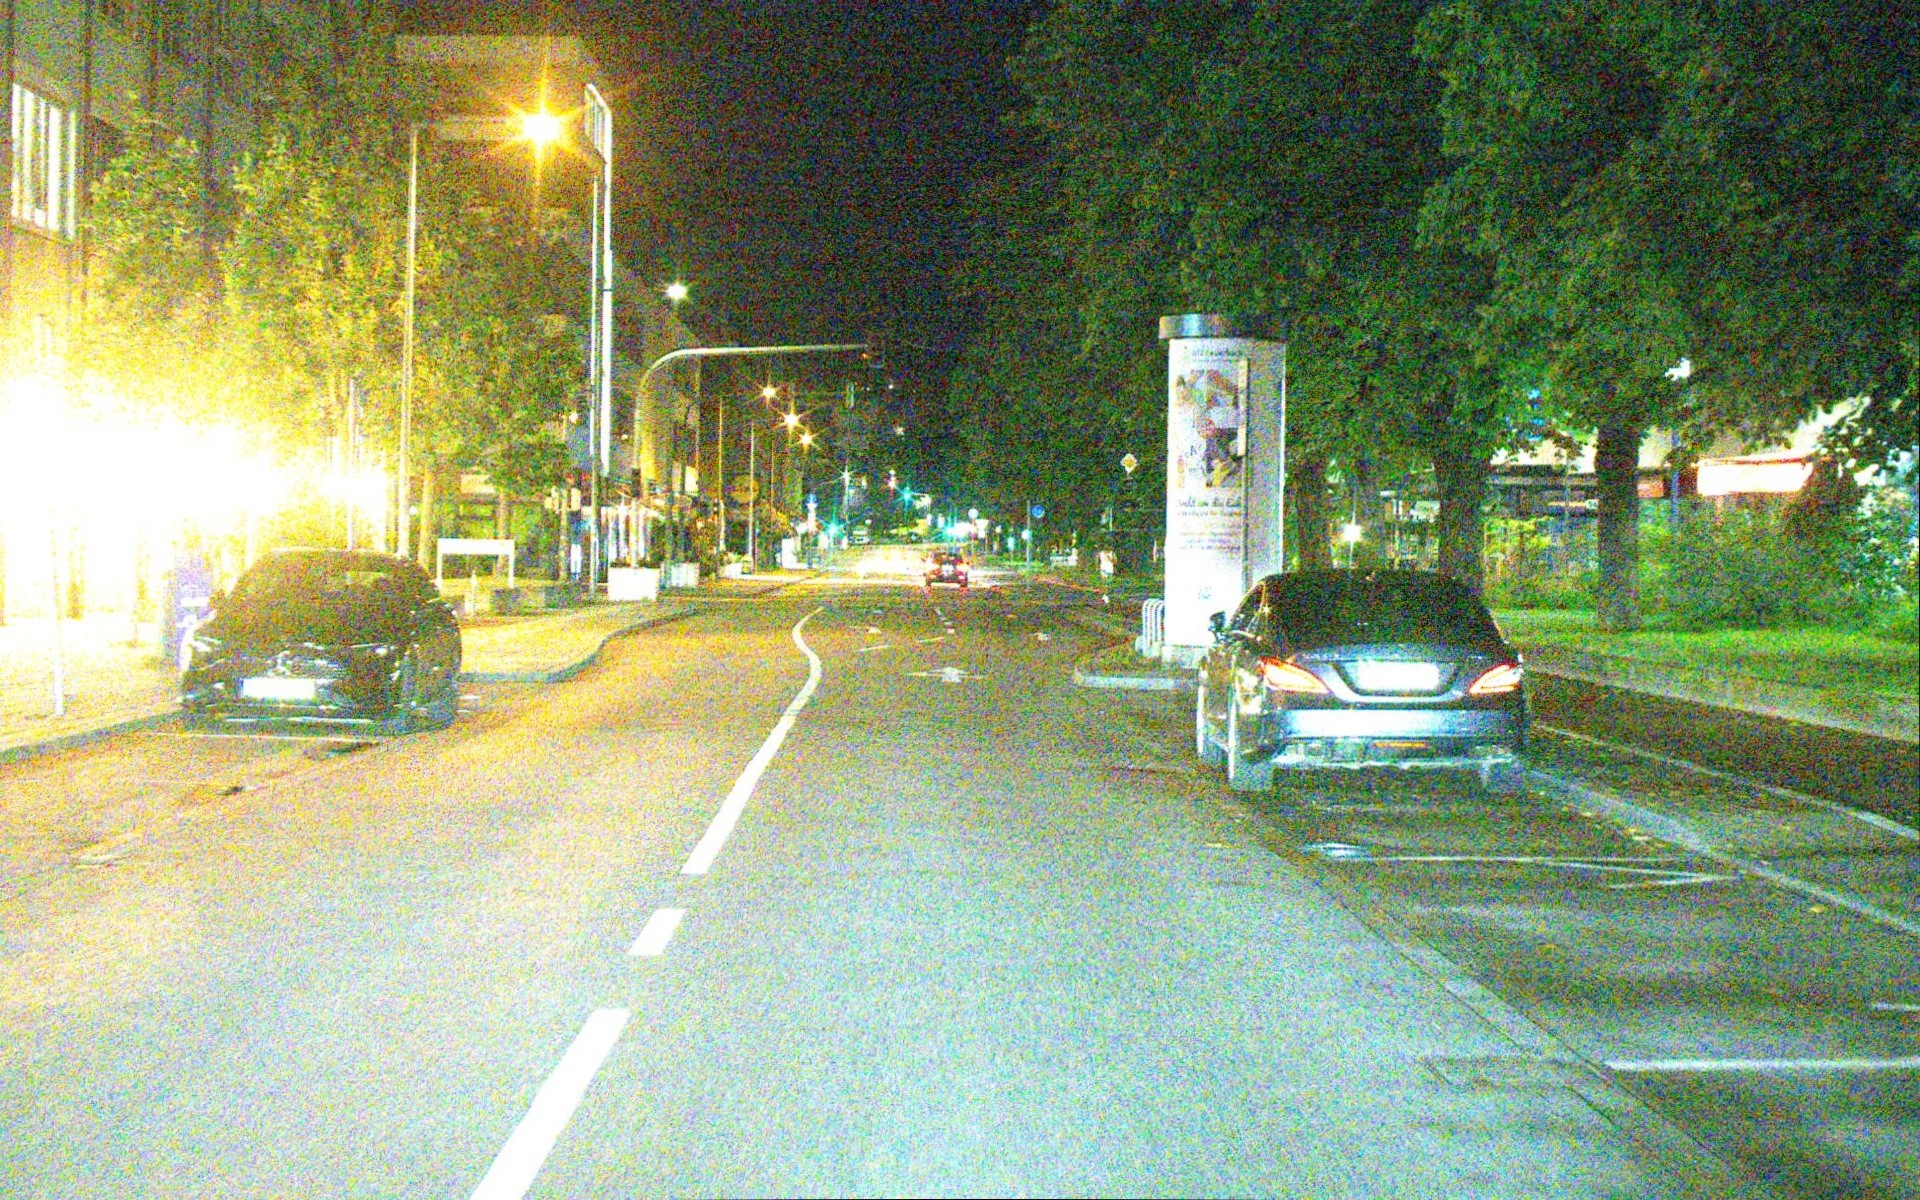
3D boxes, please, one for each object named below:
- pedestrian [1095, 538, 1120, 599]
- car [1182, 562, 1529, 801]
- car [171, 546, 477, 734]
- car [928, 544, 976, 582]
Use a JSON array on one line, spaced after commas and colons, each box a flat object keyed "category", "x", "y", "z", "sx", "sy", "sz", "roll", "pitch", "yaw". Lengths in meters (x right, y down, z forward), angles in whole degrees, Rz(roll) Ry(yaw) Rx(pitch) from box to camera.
[{"category": "pedestrian", "x": 4.404, "y": -0.931, "z": 102.640, "sx": 0.703, "sy": 1.812, "sz": 1.082, "roll": 0, "pitch": 1, "yaw": 0}, {"category": "car", "x": 2.535, "y": 0.464, "z": 23.098, "sx": 1.764, "sy": 1.409, "sz": 4.808, "roll": 0, "pitch": 1, "yaw": 0}, {"category": "car", "x": -5.273, "y": 0.277, "z": 29.049, "sx": 1.741, "sy": 1.408, "sz": 4.496, "roll": 2, "pitch": 1, "yaw": 0}, {"category": "car", "x": -0.356, "y": -1.609, "z": 149.503, "sx": 1.993, "sy": 1.637, "sz": 4.000, "roll": 0, "pitch": 1, "yaw": -1}]
